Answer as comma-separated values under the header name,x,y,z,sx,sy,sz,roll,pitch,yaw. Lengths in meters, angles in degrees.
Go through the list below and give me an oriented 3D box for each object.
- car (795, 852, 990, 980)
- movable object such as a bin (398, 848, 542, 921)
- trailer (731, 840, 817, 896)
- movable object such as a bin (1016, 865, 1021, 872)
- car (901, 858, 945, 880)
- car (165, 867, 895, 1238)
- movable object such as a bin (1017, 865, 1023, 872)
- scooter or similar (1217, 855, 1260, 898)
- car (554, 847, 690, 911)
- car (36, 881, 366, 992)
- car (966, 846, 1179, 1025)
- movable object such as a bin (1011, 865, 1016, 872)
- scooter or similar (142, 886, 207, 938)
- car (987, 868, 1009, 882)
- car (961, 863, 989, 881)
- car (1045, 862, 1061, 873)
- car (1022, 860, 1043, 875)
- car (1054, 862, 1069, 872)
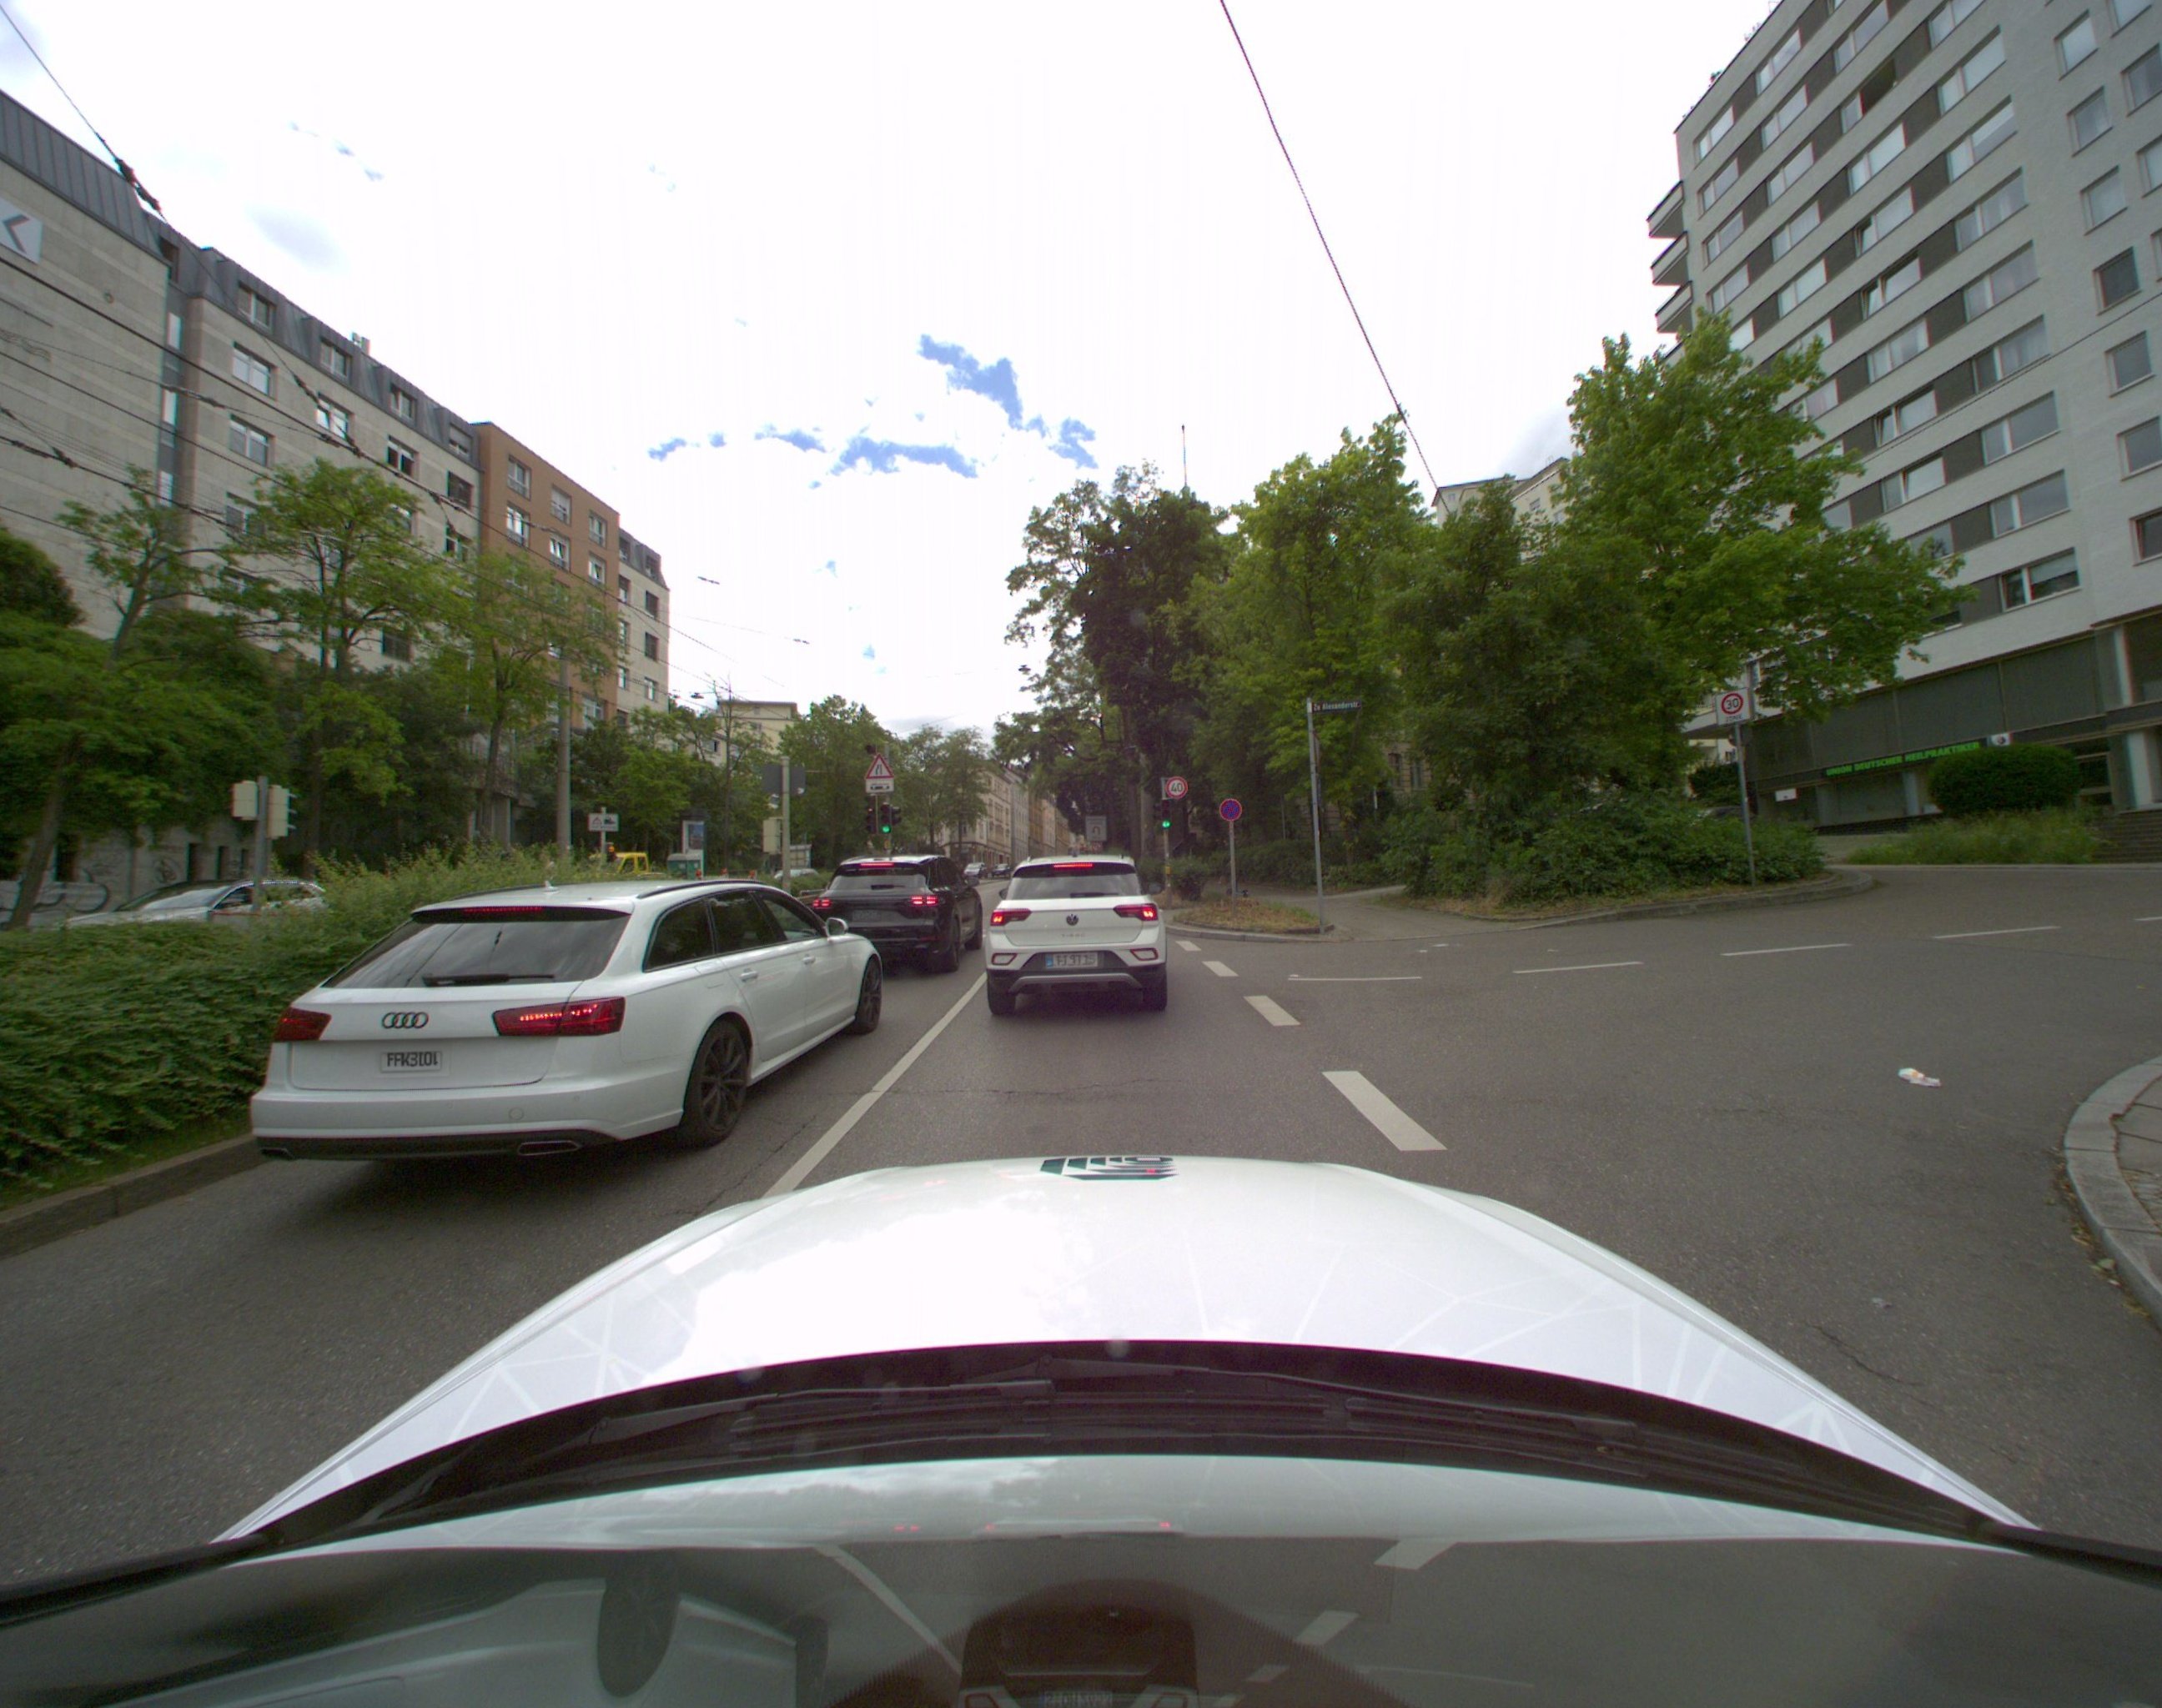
name,x,y,z,sx,sy,sz,roll,pitch,yaw
car,-2.655,0.812,12.637,2.032,1.571,4.356,-2,-1,-1
movable object such as a bin,-22.075,1.031,29.641,1.924,2.467,4.103,0,0,5
trailer,-17.129,0.751,45.866,2.007,2.973,5.603,-1,-1,9
movable object such as a bin,-10.049,2.303,131.440,0.724,1.074,0.672,-2,-1,7
car,-12.359,1.159,64.062,1.983,1.605,4.618,-2,0,6
car,-2.841,0.867,5.721,1.872,1.455,4.618,-2,-1,1
movable object such as a bin,-9.880,2.311,132.701,0.821,1.074,0.699,-2,-1,7
scooter or similar,4.717,0.667,24.509,0.631,1.210,1.550,-2,-1,-14
car,-20.761,1.040,37.286,2.146,2.593,6.344,-2,0,5
car,-15.711,1.373,14.918,1.698,1.567,3.998,-2,0,-1
car,-0.030,0.752,9.353,1.872,1.554,4.001,-2,-1,1
movable object such as a bin,-10.527,2.271,127.219,0.683,1.074,0.678,-2,-1,7
scooter or similar,-24.666,1.560,22.192,0.427,1.289,1.288,-2,0,-9
car,-9.279,2.346,91.186,1.758,1.408,4.087,-2,0,4
car,-10.208,1.684,78.910,1.986,1.618,4.002,-3,-1,2
car,-4.329,2.064,127.418,1.984,1.552,4.005,-3,-1,5
car,-6.587,1.864,111.450,1.937,1.946,5.011,-2,0,6
car,-3.288,2.127,136.099,1.984,1.552,4.005,-3,-1,5
